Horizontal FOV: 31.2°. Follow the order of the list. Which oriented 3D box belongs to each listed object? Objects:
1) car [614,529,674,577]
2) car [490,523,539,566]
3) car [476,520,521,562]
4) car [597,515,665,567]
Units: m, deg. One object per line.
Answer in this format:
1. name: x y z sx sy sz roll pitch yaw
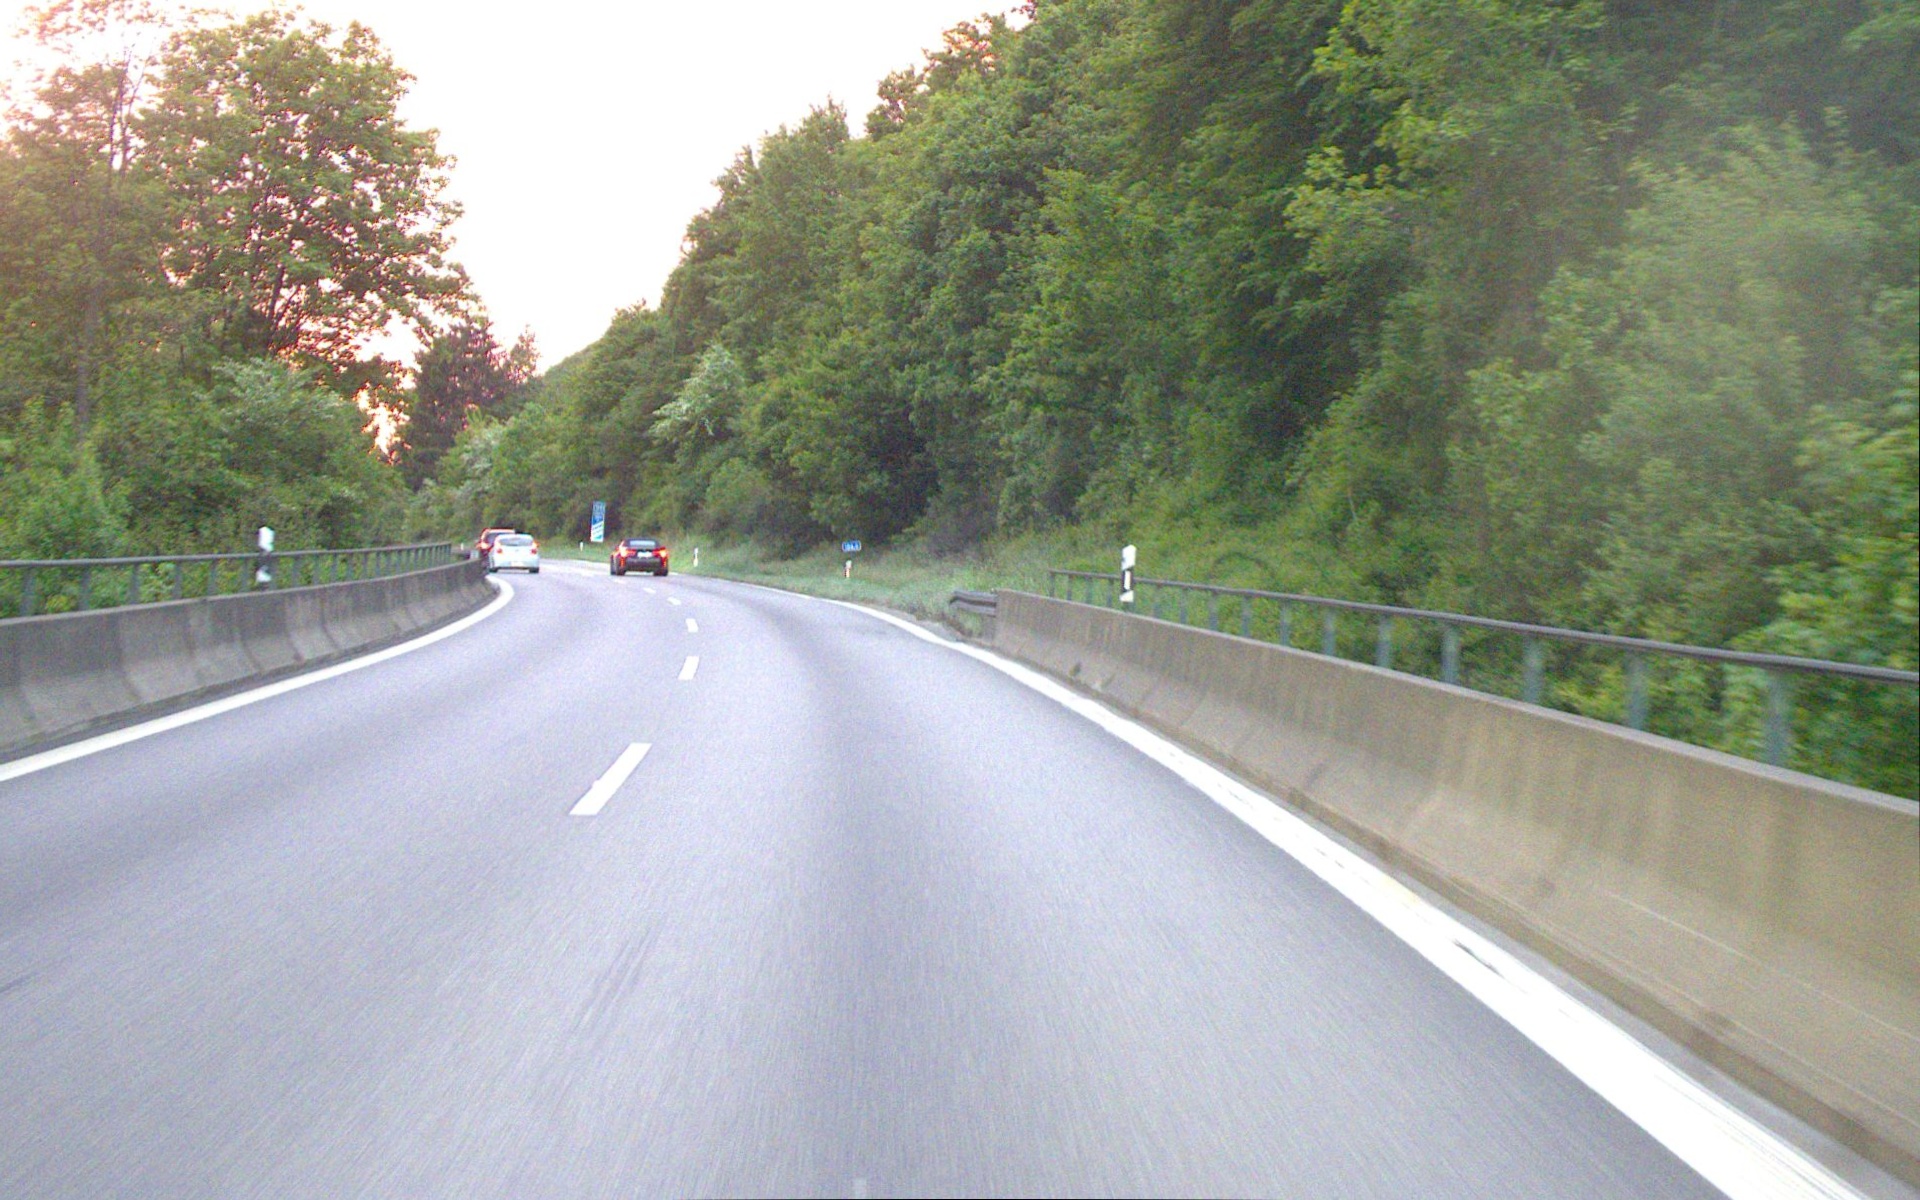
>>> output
1. car: -10.415 -1.553 113.526 1.878 1.461 4.001 2 1 -5
2. car: -17.011 -2.119 131.417 1.718 1.496 4.001 2 -1 -6
3. car: -19.206 -2.429 143.176 1.718 1.629 4.000 0 -1 -5
4. car: -12.228 -2.178 127.589 1.993 1.640 4.001 4 -2 -12
